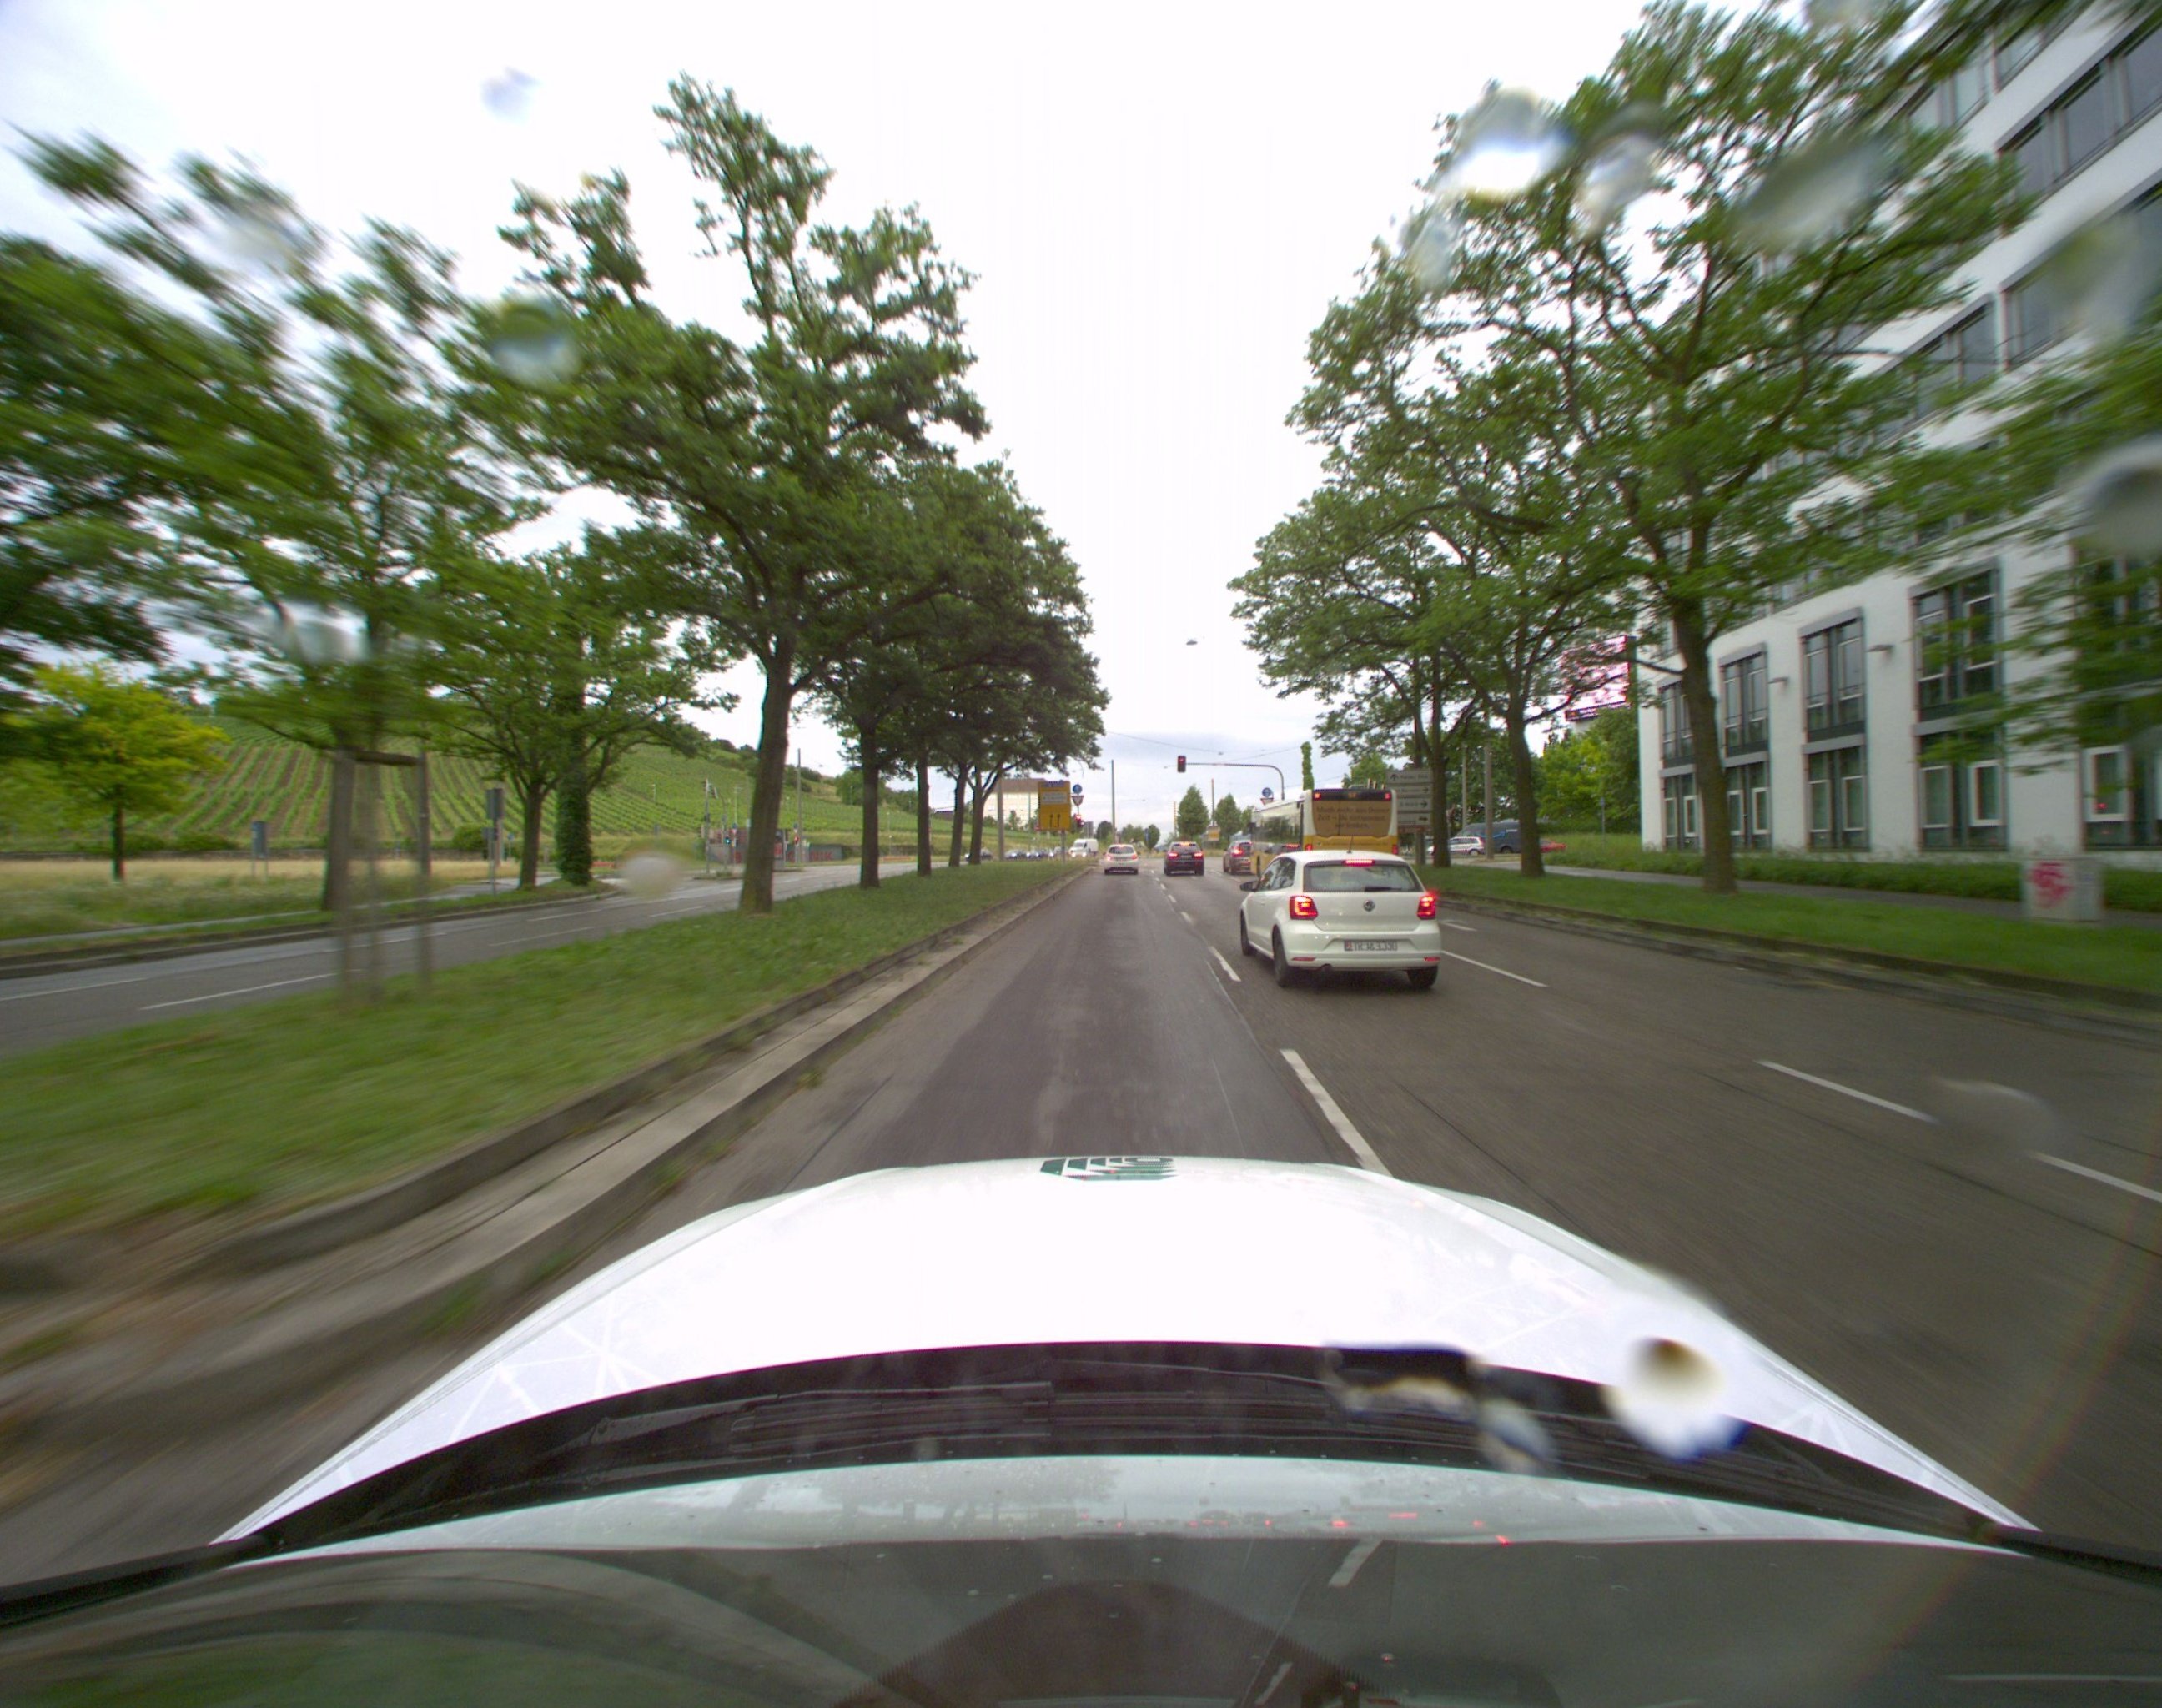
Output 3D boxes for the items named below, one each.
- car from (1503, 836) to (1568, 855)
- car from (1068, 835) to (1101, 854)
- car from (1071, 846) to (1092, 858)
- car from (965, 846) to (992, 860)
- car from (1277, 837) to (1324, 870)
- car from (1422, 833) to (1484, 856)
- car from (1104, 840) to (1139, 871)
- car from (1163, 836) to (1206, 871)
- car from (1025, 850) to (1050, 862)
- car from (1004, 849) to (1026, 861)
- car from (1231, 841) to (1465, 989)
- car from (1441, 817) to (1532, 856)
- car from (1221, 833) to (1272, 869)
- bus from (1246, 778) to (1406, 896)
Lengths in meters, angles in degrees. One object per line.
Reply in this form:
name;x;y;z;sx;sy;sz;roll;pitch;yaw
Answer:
car;36.348;-0.699;65.211;4.480;1.470;2.176;1;0;29
car;0.509;-1.359;119.367;1.975;2.559;6.208;1;0;30
car;0.092;-0.243;96.562;1.765;1.425;4.385;-2;0;9
car;-12.129;-0.073;96.828;1.818;1.623;4.579;1;0;10
car;10.619;-0.013;39.231;1.850;1.498;4.172;0;0;19
car;27.065;-0.687;59.270;4.011;1.569;1.882;0;-2;27
car;2.094;0.086;41.440;1.710;1.489;4.004;0;0;4
car;4.983;-0.039;39.638;1.876;1.595;4.118;1;0;4
car;-5.096;0.238;96.101;1.773;1.395;3.896;0;-1;14
car;-7.958;0.076;98.302;1.775;1.395;3.892;0;-1;10
car;2.969;0.590;9.907;1.734;1.432;3.814;1;0;2
car;30.173;-1.219;60.678;5.952;2.741;2.094;0;-1;30
car;8.157;-0.201;40.479;1.857;1.674;4.569;0;1;3
bus;7.796;-0.583;27.930;2.714;3.151;12.161;1;1;4
